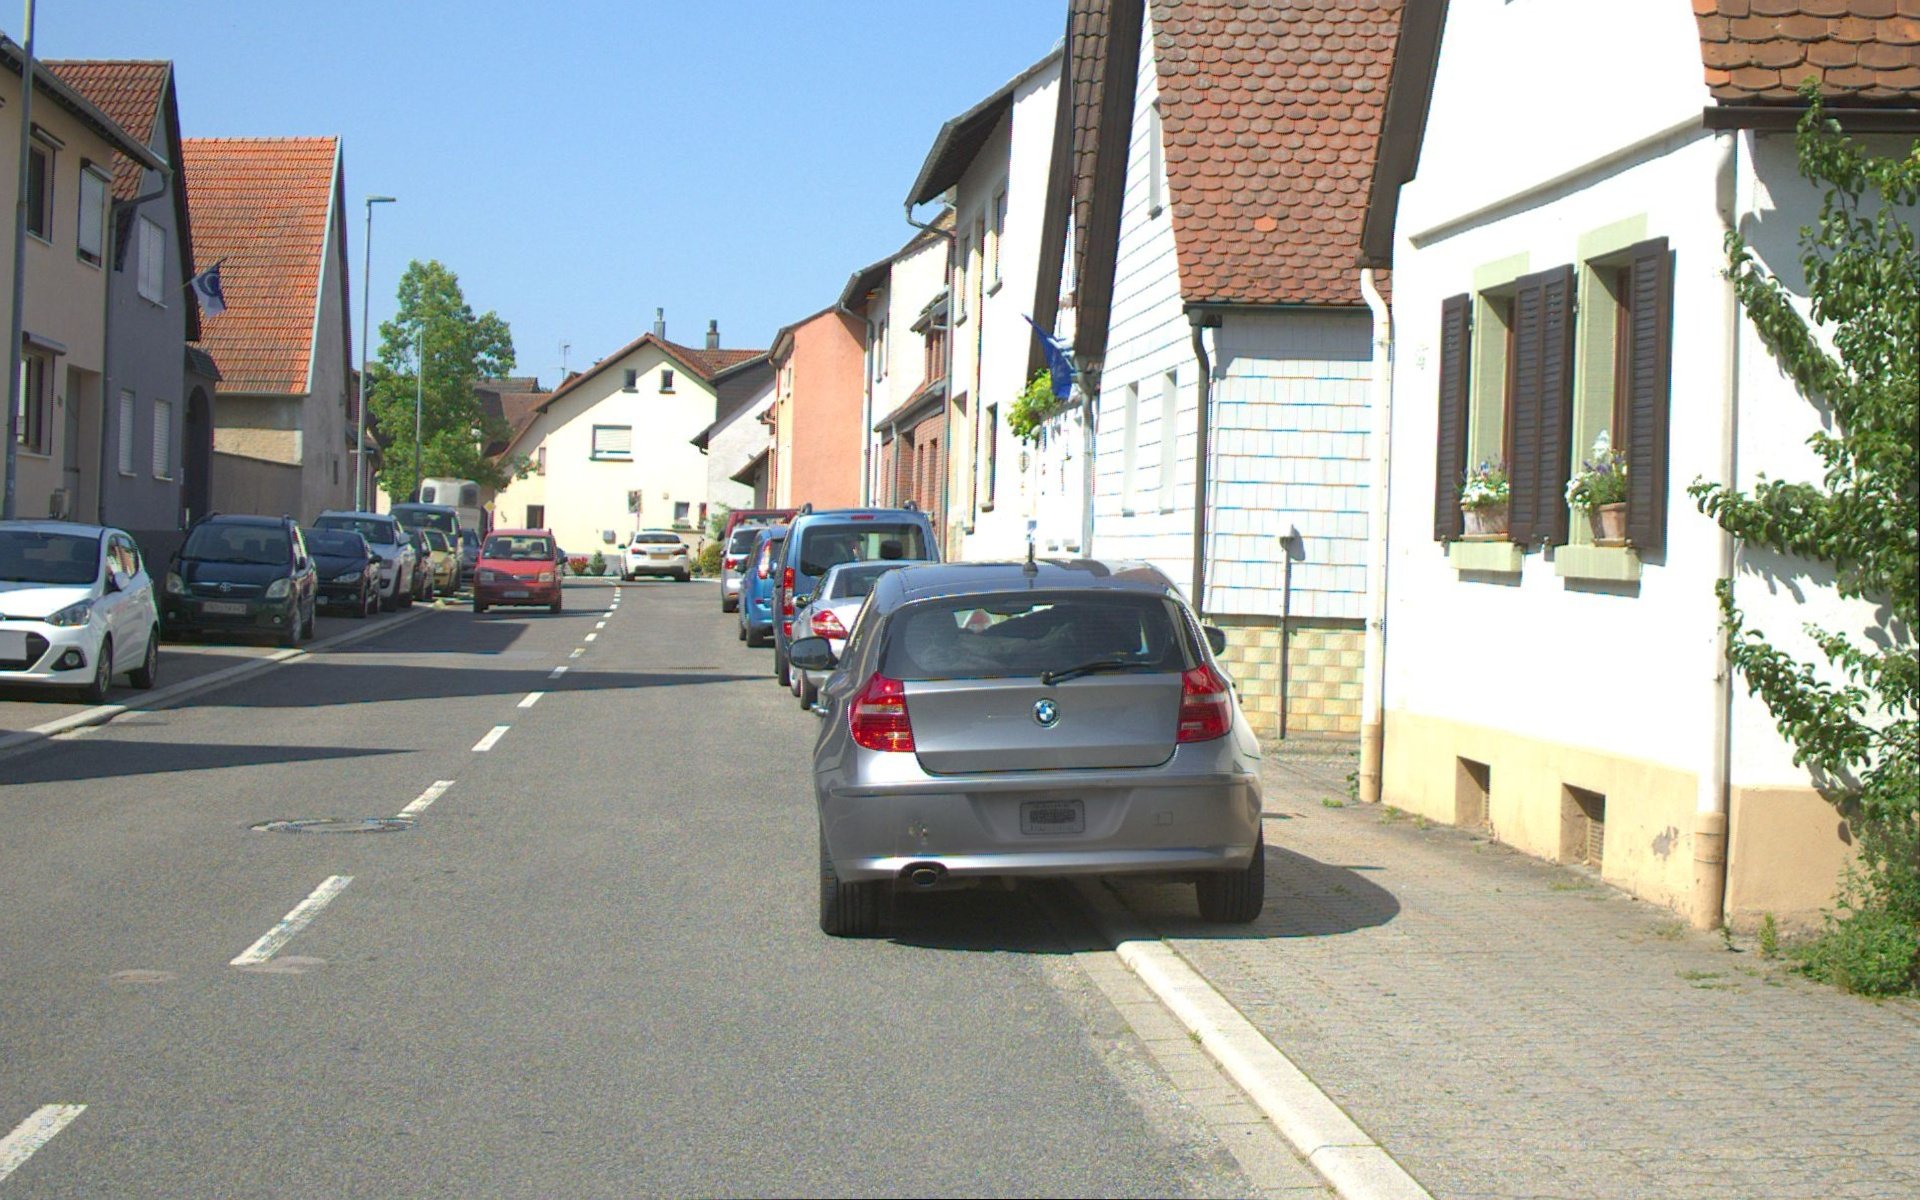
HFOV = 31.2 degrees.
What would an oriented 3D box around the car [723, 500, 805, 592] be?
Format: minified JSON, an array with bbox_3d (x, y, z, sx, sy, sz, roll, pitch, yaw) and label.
[{"bbox_3d":[-4.426,-1.204,77.500,1.766,1.997,3.450,2,0,-4],"label":"car"}]

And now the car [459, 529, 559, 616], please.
[{"bbox_3d":[-8.265,-0.515,63.193,1.601,1.484,3.626,3,1,-5],"label":"car"}]

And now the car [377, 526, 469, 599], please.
[{"bbox_3d":[-10.822,-0.761,69.464,1.527,1.351,3.626,3,1,-5],"label":"car"}]

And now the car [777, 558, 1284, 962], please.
[{"bbox_3d":[0.158,0.553,14.371,1.704,1.428,3.890,0,1,-5],"label":"car"}]

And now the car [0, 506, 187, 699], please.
[{"bbox_3d":[-8.135,-0.035,30.334,1.806,1.542,4.404,3,1,-3],"label":"car"}]

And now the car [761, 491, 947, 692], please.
[{"bbox_3d":[-1.151,-0.107,35.822,1.649,1.903,3.626,3,1,-5],"label":"car"}]

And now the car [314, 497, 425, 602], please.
[{"bbox_3d":[-10.282,-0.886,60.000,1.527,1.707,3.626,3,1,-5],"label":"car"}]

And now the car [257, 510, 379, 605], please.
[{"bbox_3d":[-10.333,-0.686,55.540,1.504,1.448,3.509,2,0,-4],"label":"car"}]

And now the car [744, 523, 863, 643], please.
[{"bbox_3d":[-2.161,-0.253,46.955,1.420,1.510,3.304,3,1,-5],"label":"car"}]

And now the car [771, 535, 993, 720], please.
[{"bbox_3d":[-0.757,0.211,30.907,1.704,1.491,3.453,3,1,-5],"label":"car"}]

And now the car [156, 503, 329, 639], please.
[{"bbox_3d":[-9.060,-0.383,43.667,1.619,1.572,3.962,3,1,-5],"label":"car"}]

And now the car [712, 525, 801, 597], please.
[{"bbox_3d":[-4.274,-0.816,72.145,1.766,1.428,3.450,2,0,-4],"label":"car"}]

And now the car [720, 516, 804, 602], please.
[{"bbox_3d":[-3.729,-0.774,64.381,1.420,1.510,3.304,3,1,-5],"label":"car"}]

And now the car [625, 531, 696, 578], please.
[{"bbox_3d":[-8.726,-1.314,100.308,1.993,1.284,4.001,2,0,-4],"label":"car"}]
